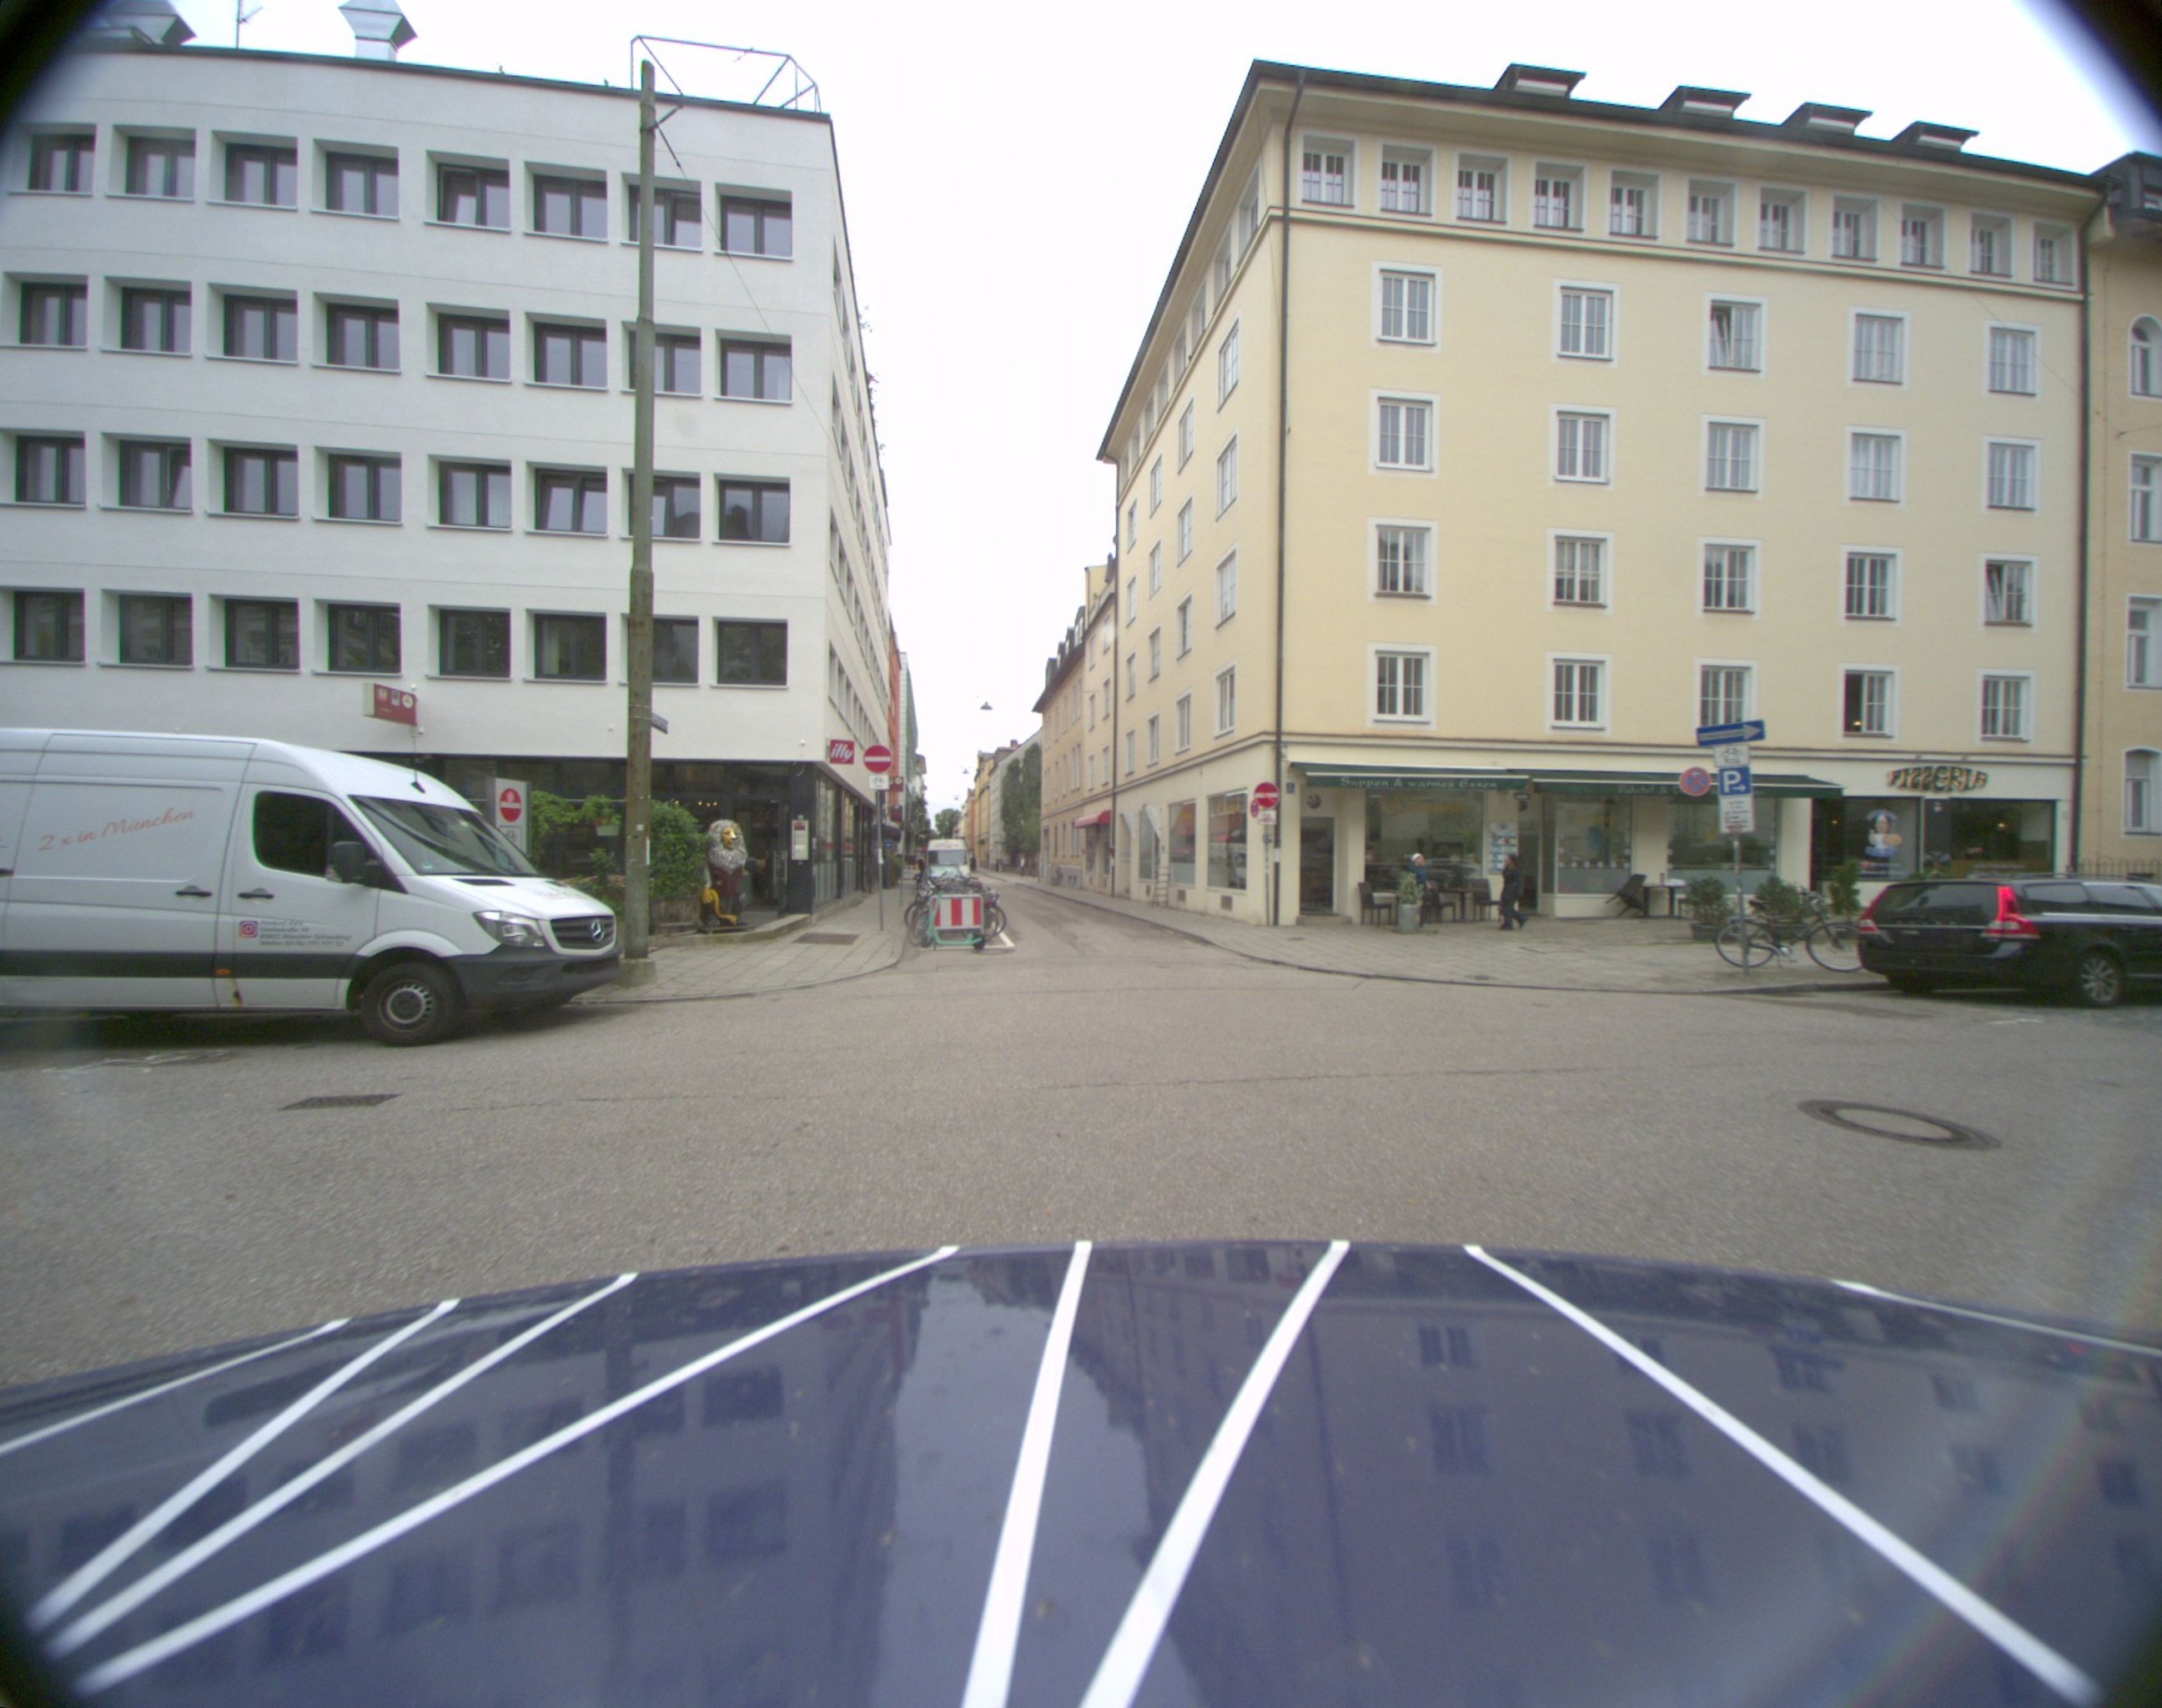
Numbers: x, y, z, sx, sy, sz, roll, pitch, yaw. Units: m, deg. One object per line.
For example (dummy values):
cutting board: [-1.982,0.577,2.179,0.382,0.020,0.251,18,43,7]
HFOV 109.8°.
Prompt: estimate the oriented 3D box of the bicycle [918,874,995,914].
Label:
bicycle: [-3.618,1.155,22.214,2.181,1.139,0.674,0,0,-9]

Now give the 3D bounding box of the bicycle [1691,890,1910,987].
bicycle: [10.416,1.193,11.126,2.149,1.195,0.811,2,1,23]

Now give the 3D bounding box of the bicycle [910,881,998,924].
bicycle: [-3.213,1.208,19.298,2.153,1.026,0.974,0,0,-9]

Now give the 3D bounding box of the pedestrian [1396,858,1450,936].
pedestrian: [7.337,0.890,16.295,0.920,1.601,0.777,1,1,33]

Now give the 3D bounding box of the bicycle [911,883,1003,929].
bicycle: [-2.948,1.220,18.161,2.106,1.026,0.974,0,0,-9]

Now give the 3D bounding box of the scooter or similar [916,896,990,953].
scooter or similar: [-2.290,1.247,13.624,1.283,0.970,0.498,0,0,-9]

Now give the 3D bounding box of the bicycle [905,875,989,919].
bicycle: [-3.625,1.160,20.624,2.209,1.139,0.739,0,0,-9]

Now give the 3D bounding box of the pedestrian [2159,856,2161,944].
pedestrian: [22.498,0.941,15.290,0.781,1.779,0.855,0,1,-31]

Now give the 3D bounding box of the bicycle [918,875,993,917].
bicycle: [-3.532,1.171,21.449,2.036,1.139,0.668,0,0,-9]

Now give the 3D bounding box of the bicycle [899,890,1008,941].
bicycle: [-2.654,1.266,15.920,2.178,0.971,0.974,0,0,-9]

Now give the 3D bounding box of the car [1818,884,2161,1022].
car: [12.307,1.160,9.514,4.489,1.473,2.029,0,-4,-8]

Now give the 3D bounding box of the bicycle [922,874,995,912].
bicycle: [-3.777,1.190,23.537,2.206,1.139,0.695,0,0,-9]

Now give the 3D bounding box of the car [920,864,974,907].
car: [-4.718,1.072,27.128,1.759,1.386,3.997,0,0,-8]

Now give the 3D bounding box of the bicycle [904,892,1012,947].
bicycle: [-2.372,1.251,14.762,1.995,0.958,0.973,0,0,-9]

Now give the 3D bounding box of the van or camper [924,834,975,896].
van or camper: [-5.943,0.455,33.913,1.968,2.494,5.717,0,0,-12]

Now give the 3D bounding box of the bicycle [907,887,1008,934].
bicycle: [-2.759,1.252,17.075,2.175,0.958,0.974,0,0,-9]

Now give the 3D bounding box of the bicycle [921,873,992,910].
bicycle: [-3.955,1.197,24.268,2.207,1.139,0.639,0,0,-9]

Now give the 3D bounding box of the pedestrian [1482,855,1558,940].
pedestrian: [8.991,0.868,15.615,1.123,1.667,0.872,0,1,13]

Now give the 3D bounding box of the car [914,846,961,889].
car: [-7.552,0.649,39.642,2.001,2.121,3.994,0,0,-16]

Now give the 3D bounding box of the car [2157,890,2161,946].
car: [17.243,1.156,9.803,4.431,1.417,2.000,0,-4,-8]

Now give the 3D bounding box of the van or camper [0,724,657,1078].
van or camper: [-7.555,0.405,7.022,5.869,2.697,2.304,0,-2,-5]
